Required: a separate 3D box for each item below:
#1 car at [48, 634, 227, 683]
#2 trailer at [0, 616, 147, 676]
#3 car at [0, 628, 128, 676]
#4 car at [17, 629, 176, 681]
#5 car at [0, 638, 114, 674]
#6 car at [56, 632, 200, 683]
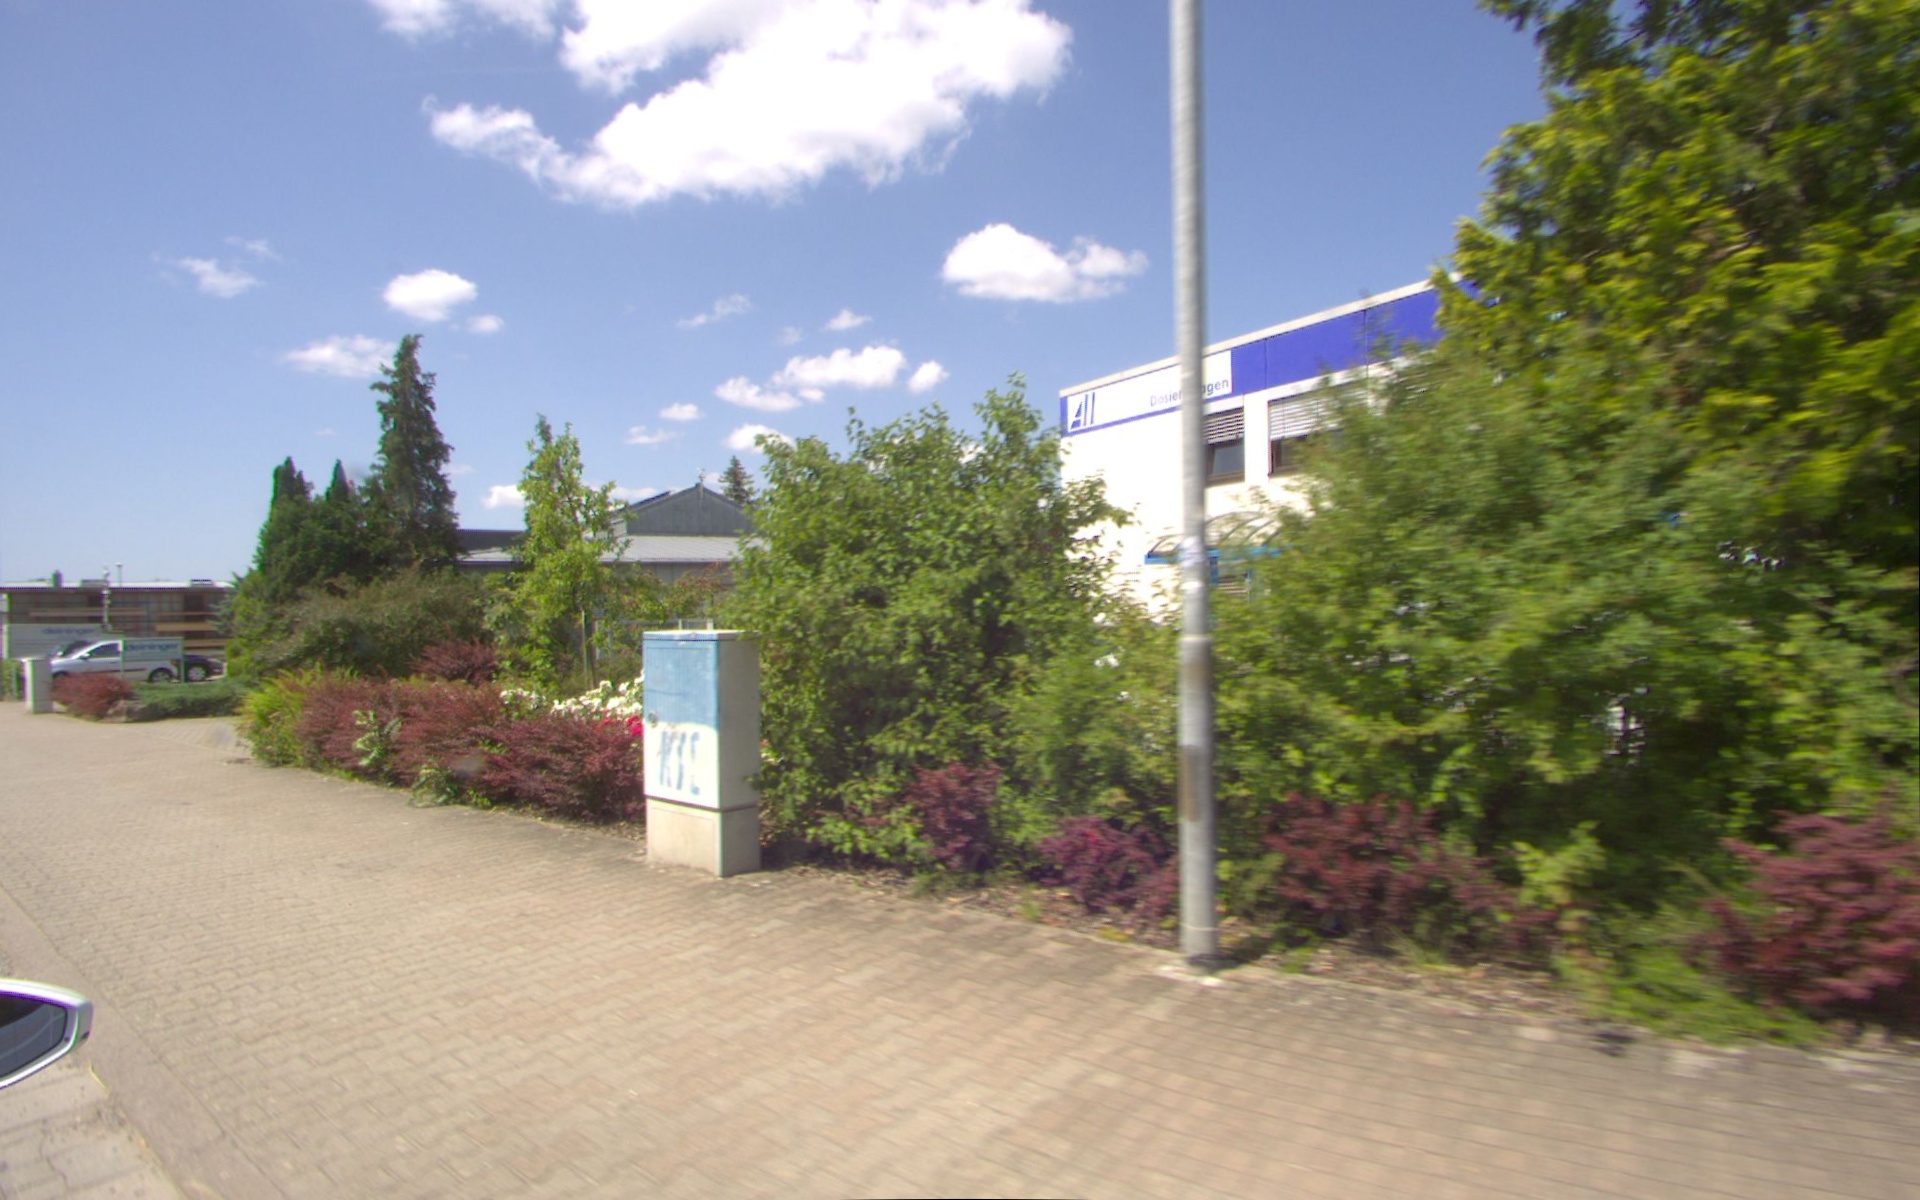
[{"bbox_3d":[-28.074,1.953,34.302,1.792,1.459,4.459,-2,-1,37],"label":"car"},{"bbox_3d":[-33.384,1.685,37.682,1.977,2.040,3.969,-2,0,39],"label":"trailer"},{"bbox_3d":[-35.789,2.057,39.561,1.780,1.654,4.194,-4,-1,39],"label":"car"},{"bbox_3d":[-31.061,1.967,36.138,1.692,1.594,4.021,-4,-1,35],"label":"car"},{"bbox_3d":[-40.289,2.457,44.559,1.797,1.474,3.827,-2,-1,41],"label":"car"},{"bbox_3d":[-26.668,1.810,32.149,1.750,1.420,3.334,-2,0,42],"label":"car"}]
